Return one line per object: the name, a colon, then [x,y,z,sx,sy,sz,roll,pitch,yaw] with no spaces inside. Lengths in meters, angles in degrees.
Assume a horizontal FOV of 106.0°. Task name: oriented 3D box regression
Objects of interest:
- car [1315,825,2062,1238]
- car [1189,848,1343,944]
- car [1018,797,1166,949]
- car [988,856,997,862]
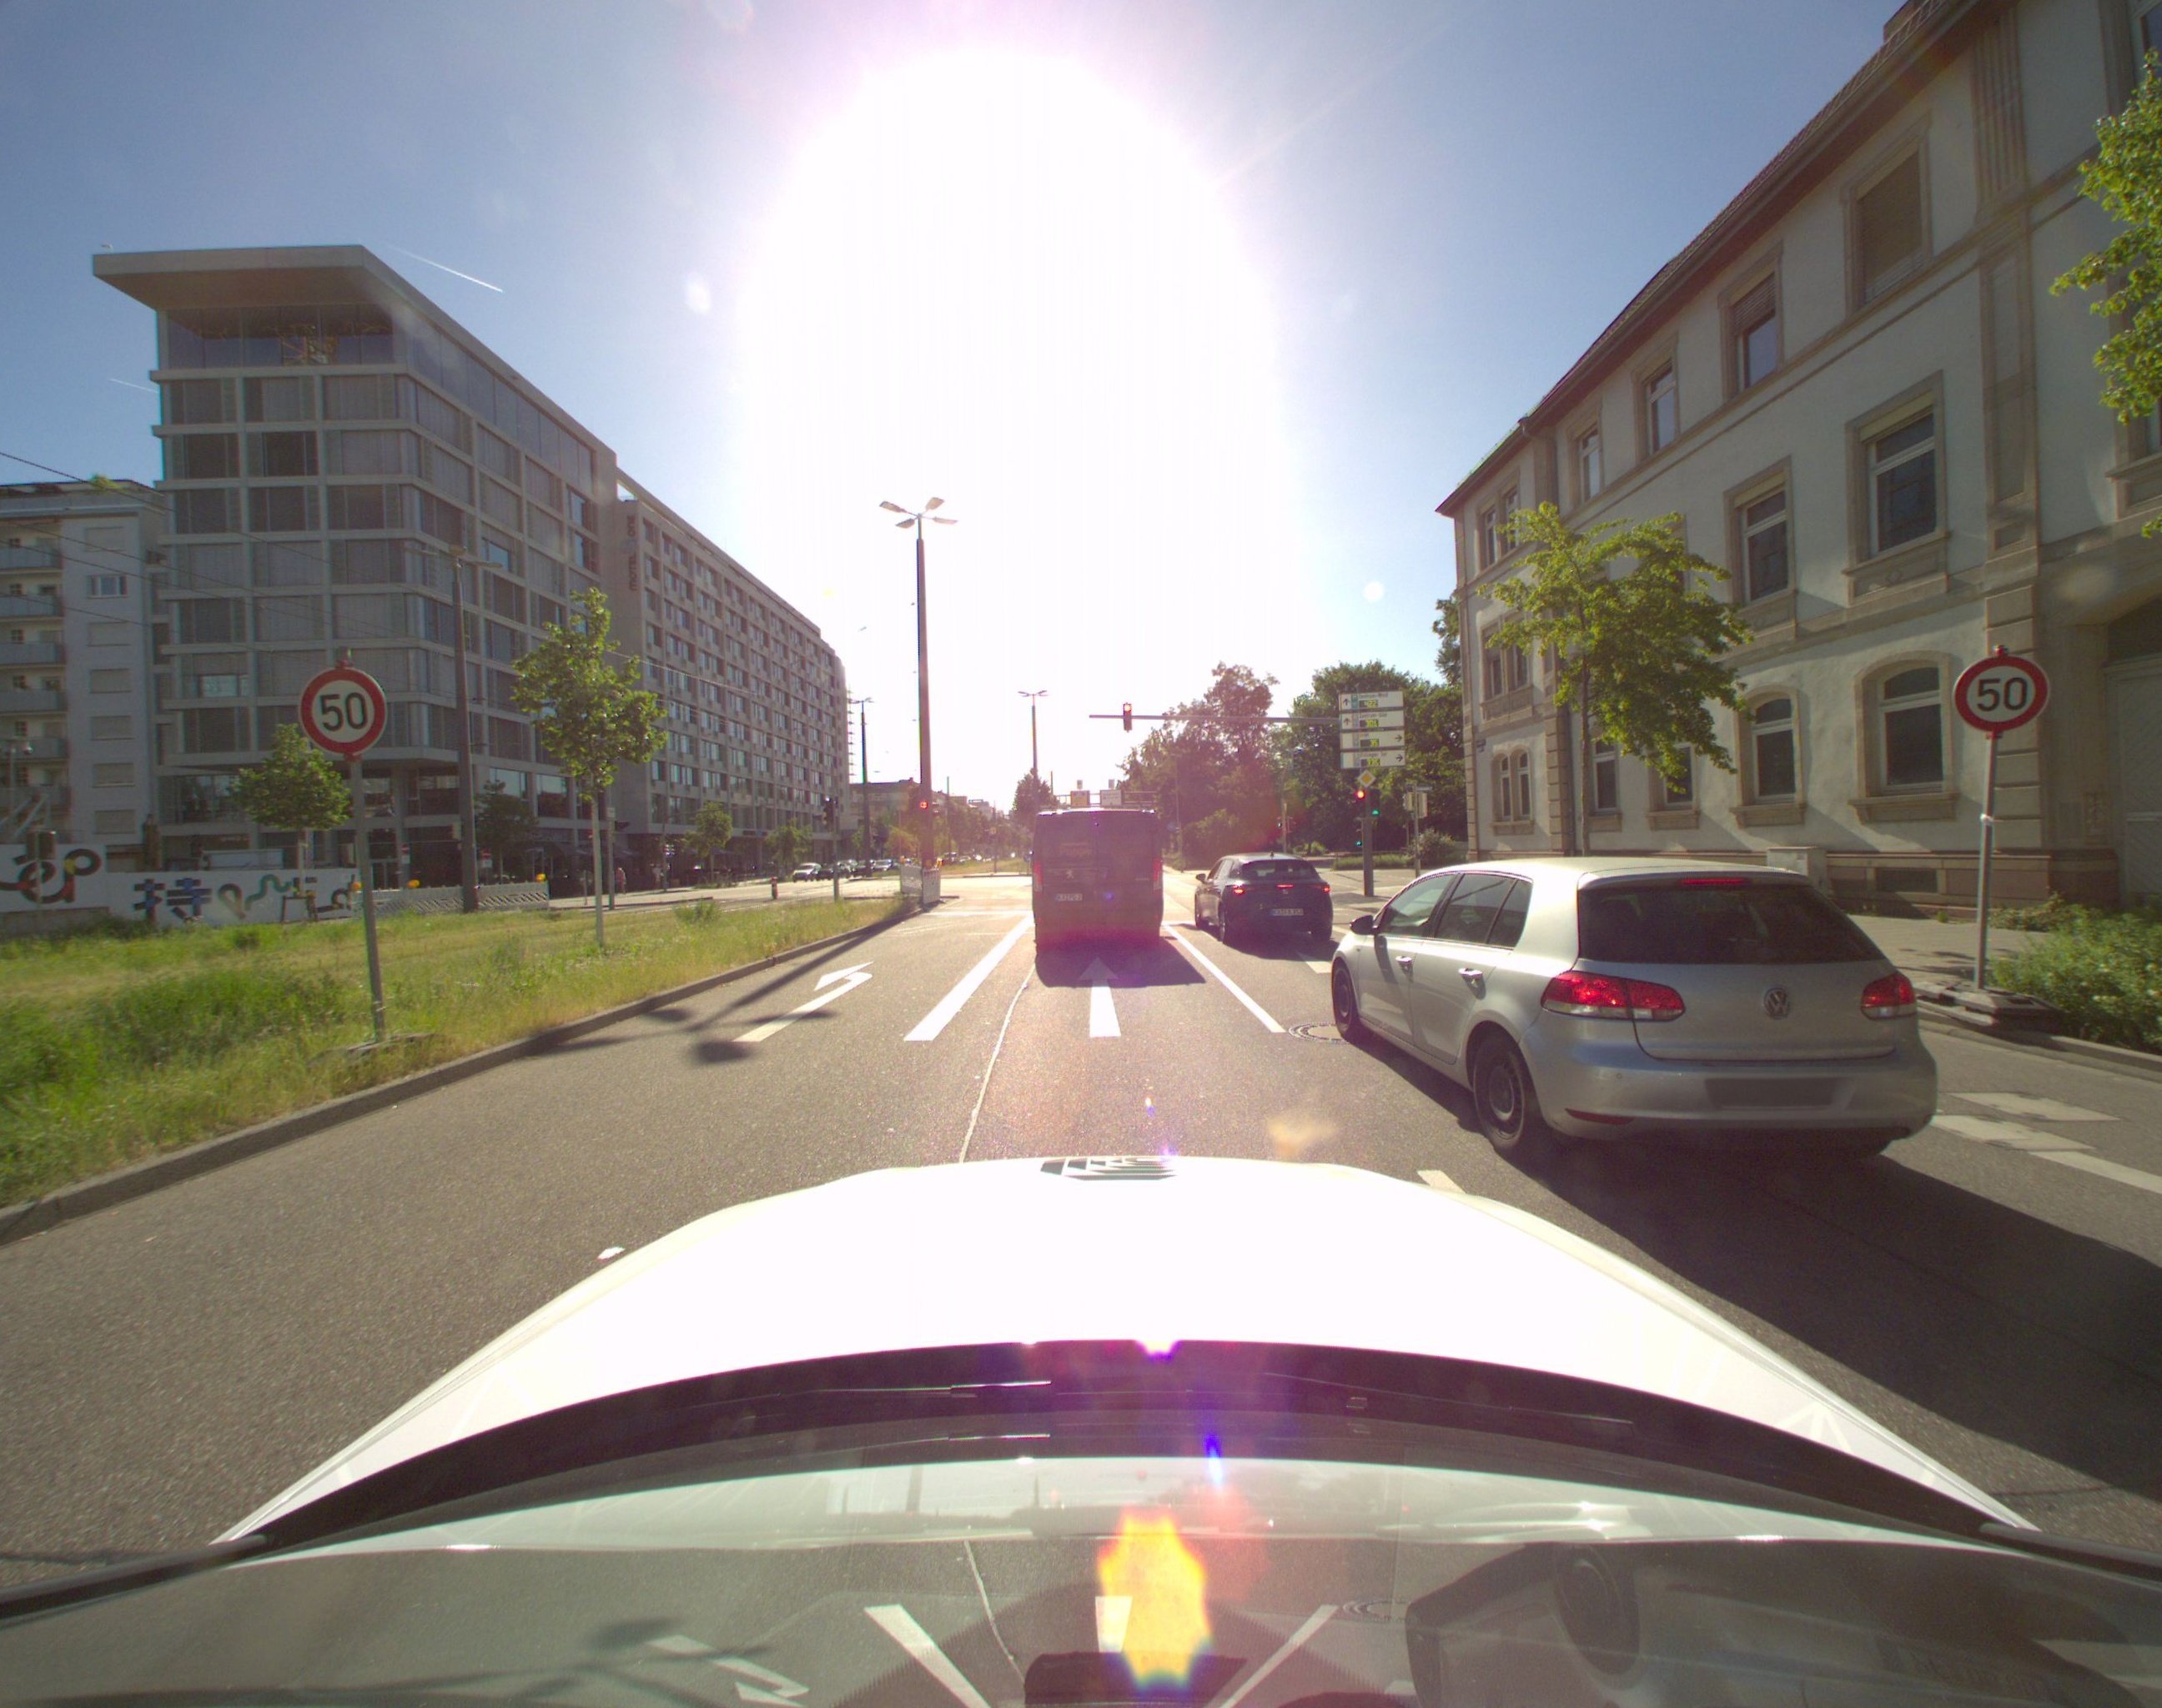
car: [2.854,0.655,5.066,1.743,1.527,4.006,-1,0,2]
car: [3.068,0.644,14.304,1.786,1.428,3.848,-1,0,-1]
car: [0.169,0.261,14.576,2.211,2.267,4.483,-1,1,0]
car: [-22.534,1.264,206.906,1.784,1.651,4.001,-2,0,1]
